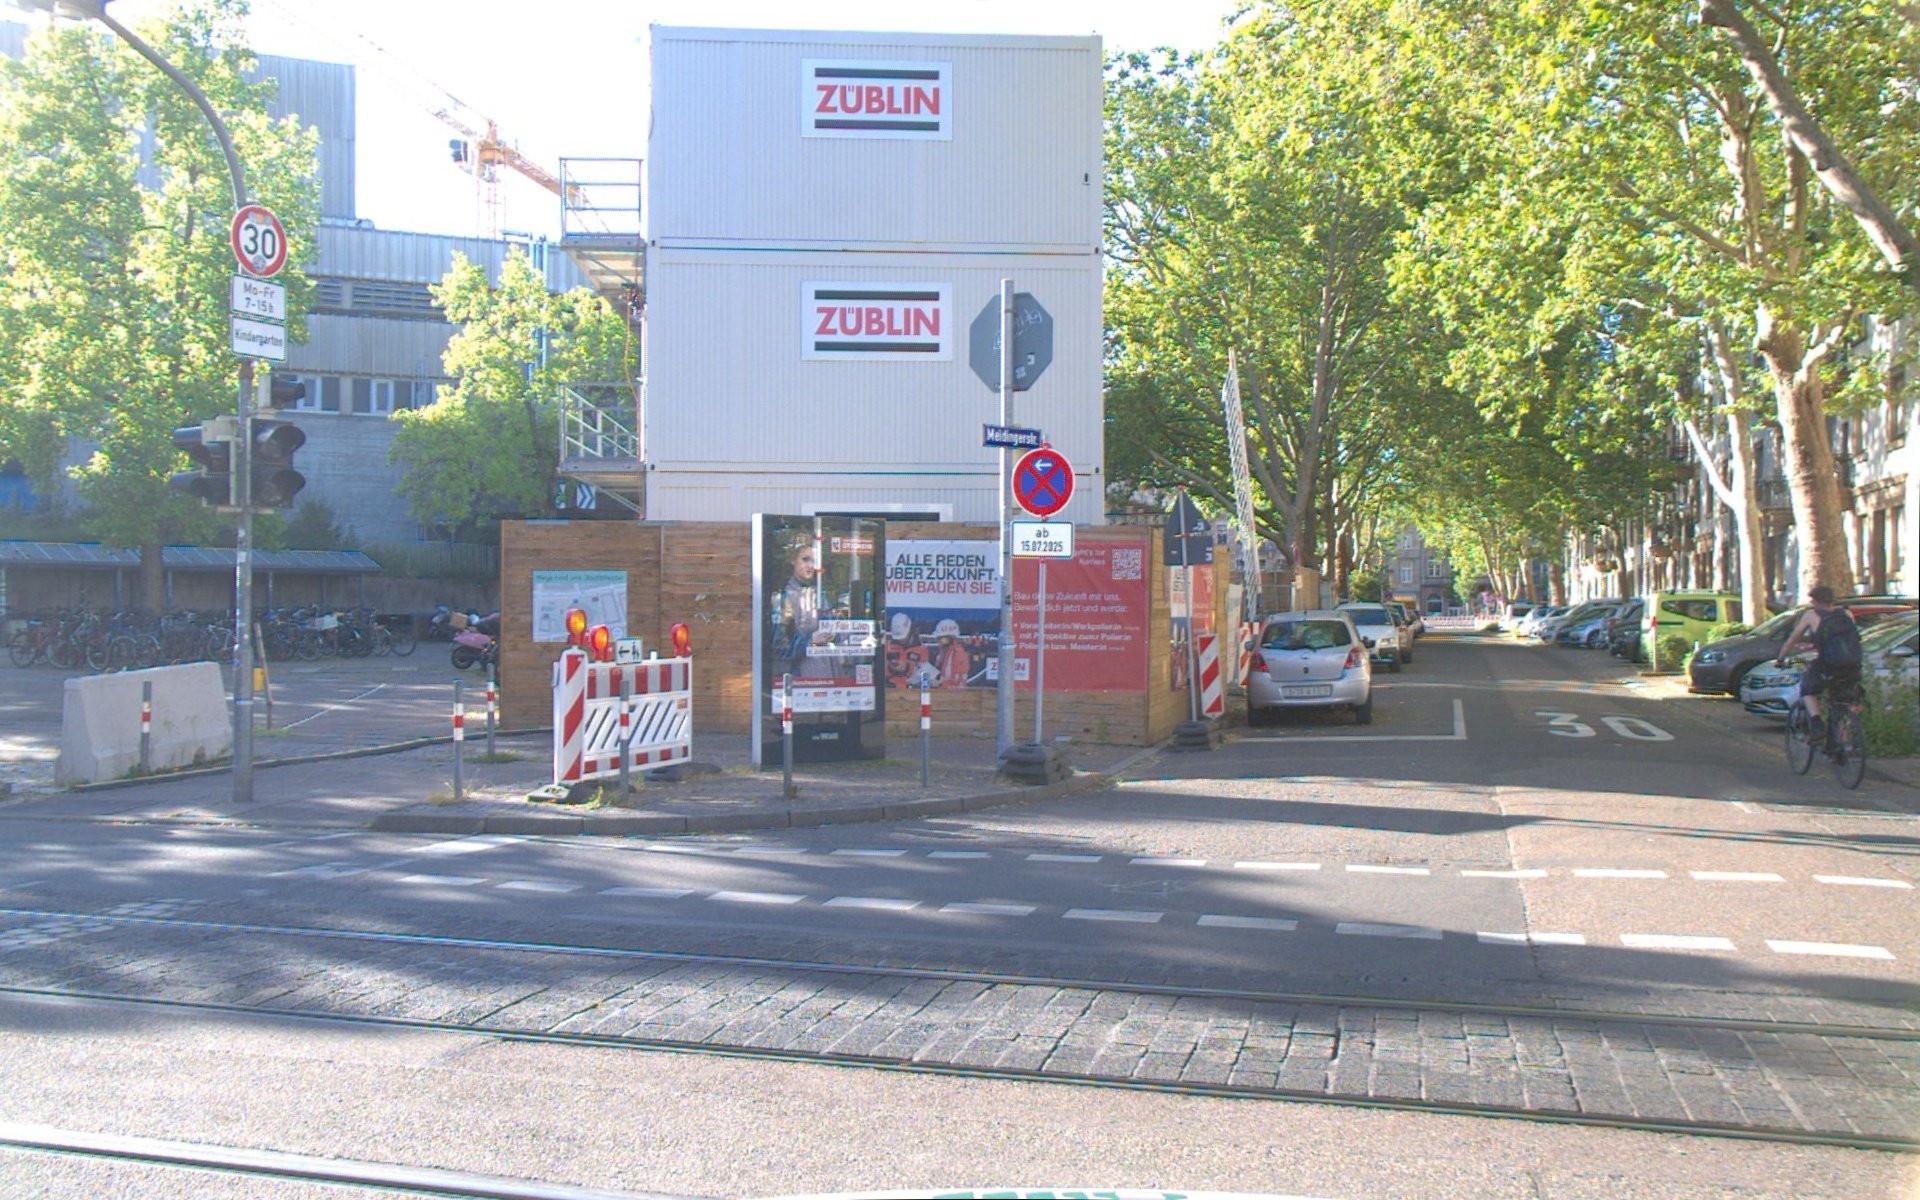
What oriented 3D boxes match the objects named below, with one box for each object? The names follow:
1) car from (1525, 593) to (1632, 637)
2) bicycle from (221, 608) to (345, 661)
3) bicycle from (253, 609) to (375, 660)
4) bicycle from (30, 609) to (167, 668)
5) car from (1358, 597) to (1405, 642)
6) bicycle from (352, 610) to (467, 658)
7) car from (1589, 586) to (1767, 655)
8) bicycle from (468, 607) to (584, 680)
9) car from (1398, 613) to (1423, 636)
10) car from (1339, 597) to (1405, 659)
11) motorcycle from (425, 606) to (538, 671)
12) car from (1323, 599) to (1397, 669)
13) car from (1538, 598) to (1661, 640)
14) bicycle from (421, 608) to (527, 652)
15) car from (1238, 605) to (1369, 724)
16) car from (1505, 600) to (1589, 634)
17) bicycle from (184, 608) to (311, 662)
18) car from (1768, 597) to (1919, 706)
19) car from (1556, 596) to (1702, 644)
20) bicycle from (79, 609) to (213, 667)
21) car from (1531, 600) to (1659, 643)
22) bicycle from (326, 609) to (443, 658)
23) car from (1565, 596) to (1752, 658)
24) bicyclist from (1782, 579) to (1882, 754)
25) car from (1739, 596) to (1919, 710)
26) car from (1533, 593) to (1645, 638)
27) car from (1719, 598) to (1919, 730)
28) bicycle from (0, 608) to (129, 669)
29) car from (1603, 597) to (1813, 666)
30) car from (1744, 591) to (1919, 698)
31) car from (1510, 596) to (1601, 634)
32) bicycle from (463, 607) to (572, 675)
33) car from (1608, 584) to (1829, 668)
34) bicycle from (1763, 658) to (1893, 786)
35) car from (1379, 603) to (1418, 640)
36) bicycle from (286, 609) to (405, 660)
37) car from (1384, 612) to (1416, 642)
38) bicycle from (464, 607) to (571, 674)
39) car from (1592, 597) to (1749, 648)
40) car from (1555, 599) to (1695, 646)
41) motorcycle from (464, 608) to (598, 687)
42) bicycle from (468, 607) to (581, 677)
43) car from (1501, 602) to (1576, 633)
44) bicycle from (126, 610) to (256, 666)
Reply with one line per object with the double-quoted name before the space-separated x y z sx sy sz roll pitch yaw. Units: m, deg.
"car" 27.896 0.680 74.668 4.367 1.931 1.729 0 0 15
"bicycle" -15.605 0.782 38.104 3.018 1.167 0.821 0 0 25
"bicycle" -15.198 0.798 38.902 3.018 1.167 0.821 0 0 25
"bicycle" -17.562 0.763 33.690 3.018 1.167 0.821 0 0 25
"car" 15.466 0.708 60.730 1.630 1.590 4.619 0 0 14
"bicycle" -13.896 0.853 41.729 3.018 1.167 0.821 0 0 25
"car" 20.146 0.565 46.566 4.366 1.868 1.729 0 0 15
"bicycle" -7.919 0.777 30.195 2.014 1.279 0.468 0 0 -22
"car" 32.428 1.748 119.139 1.630 1.590 4.222 0 0 14
"car" 11.118 0.717 44.611 1.630 1.590 4.522 0 0 14
"motorcycle" -9.769 0.764 33.774 2.173 1.279 0.540 0 0 -22
"car" 9.525 0.770 39.307 1.630 1.590 4.003 0 0 14
"car" 25.068 0.738 64.977 4.367 1.598 1.729 0 0 15
"bicycle" -13.312 0.799 45.268 3.018 1.167 0.821 0 0 25
"car" 5.000 0.860 23.736 1.608 1.521 4.003 -3 -1 14
"car" 33.387 0.948 94.169 4.367 1.931 1.729 0 0 15
"bicycle" -16.017 0.764 37.153 3.018 1.167 0.821 0 0 25
"car" 14.776 0.758 24.959 4.367 1.598 1.729 0 0 15
"car" 22.501 0.663 55.758 4.367 1.598 1.729 0 0 15
"bicycle" -17.108 0.783 34.748 3.018 1.167 0.821 0 0 25
"car" 24.079 0.819 62.848 4.367 1.598 1.729 0 0 15
"bicycle" -14.233 0.823 40.855 3.018 1.167 0.821 0 0 25
"car" 18.417 0.699 43.813 4.367 1.598 1.729 0 0 15
"bicyclist" 7.960 0.589 15.123 0.662 1.539 0.669 1 0 16
"car" 13.343 0.705 22.910 4.367 1.527 1.729 0 0 15
"car" 27.312 0.672 71.953 4.367 1.931 1.729 0 0 15
"car" 12.043 0.775 20.729 4.367 1.598 1.729 0 0 15
"bicycle" -17.857 0.747 32.737 3.018 1.167 0.821 0 0 25
"car" 17.933 0.744 39.845 4.367 1.598 1.729 0 0 15
"car" 15.336 0.703 26.972 4.367 1.700 1.729 0 0 15
"car" 31.321 0.781 87.029 4.367 1.931 1.729 0 0 15
"bicycle" -8.641 0.787 32.323 2.014 1.279 0.540 0 0 -22
"car" 17.298 0.588 37.931 4.366 1.868 1.729 0 0 15
"bicycle" 8.006 1.089 15.330 0.675 1.034 1.908 1 0 16
"car" 19.790 0.955 74.699 1.630 1.590 4.283 0 0 14
"bicycle" -14.792 0.815 39.790 3.018 1.167 0.821 0 0 25
"car" 24.145 1.467 90.778 1.630 1.590 4.222 0 0 14
"bicycle" -8.792 0.791 32.898 2.014 1.279 0.540 0 0 -22
"car" 22.446 0.706 52.433 4.367 1.598 1.729 0 0 15
"car" 23.298 0.777 58.105 4.367 1.598 1.729 0 0 15
"motorcycle" -7.315 0.798 28.216 2.173 1.279 0.540 0 0 -22
"bicycle" -8.219 0.783 31.211 2.014 1.279 0.540 0 0 -22
"car" 36.981 1.101 105.811 4.367 1.931 1.729 0 0 15
"bicycle" -16.612 0.803 35.703 3.018 1.167 0.821 0 0 25
